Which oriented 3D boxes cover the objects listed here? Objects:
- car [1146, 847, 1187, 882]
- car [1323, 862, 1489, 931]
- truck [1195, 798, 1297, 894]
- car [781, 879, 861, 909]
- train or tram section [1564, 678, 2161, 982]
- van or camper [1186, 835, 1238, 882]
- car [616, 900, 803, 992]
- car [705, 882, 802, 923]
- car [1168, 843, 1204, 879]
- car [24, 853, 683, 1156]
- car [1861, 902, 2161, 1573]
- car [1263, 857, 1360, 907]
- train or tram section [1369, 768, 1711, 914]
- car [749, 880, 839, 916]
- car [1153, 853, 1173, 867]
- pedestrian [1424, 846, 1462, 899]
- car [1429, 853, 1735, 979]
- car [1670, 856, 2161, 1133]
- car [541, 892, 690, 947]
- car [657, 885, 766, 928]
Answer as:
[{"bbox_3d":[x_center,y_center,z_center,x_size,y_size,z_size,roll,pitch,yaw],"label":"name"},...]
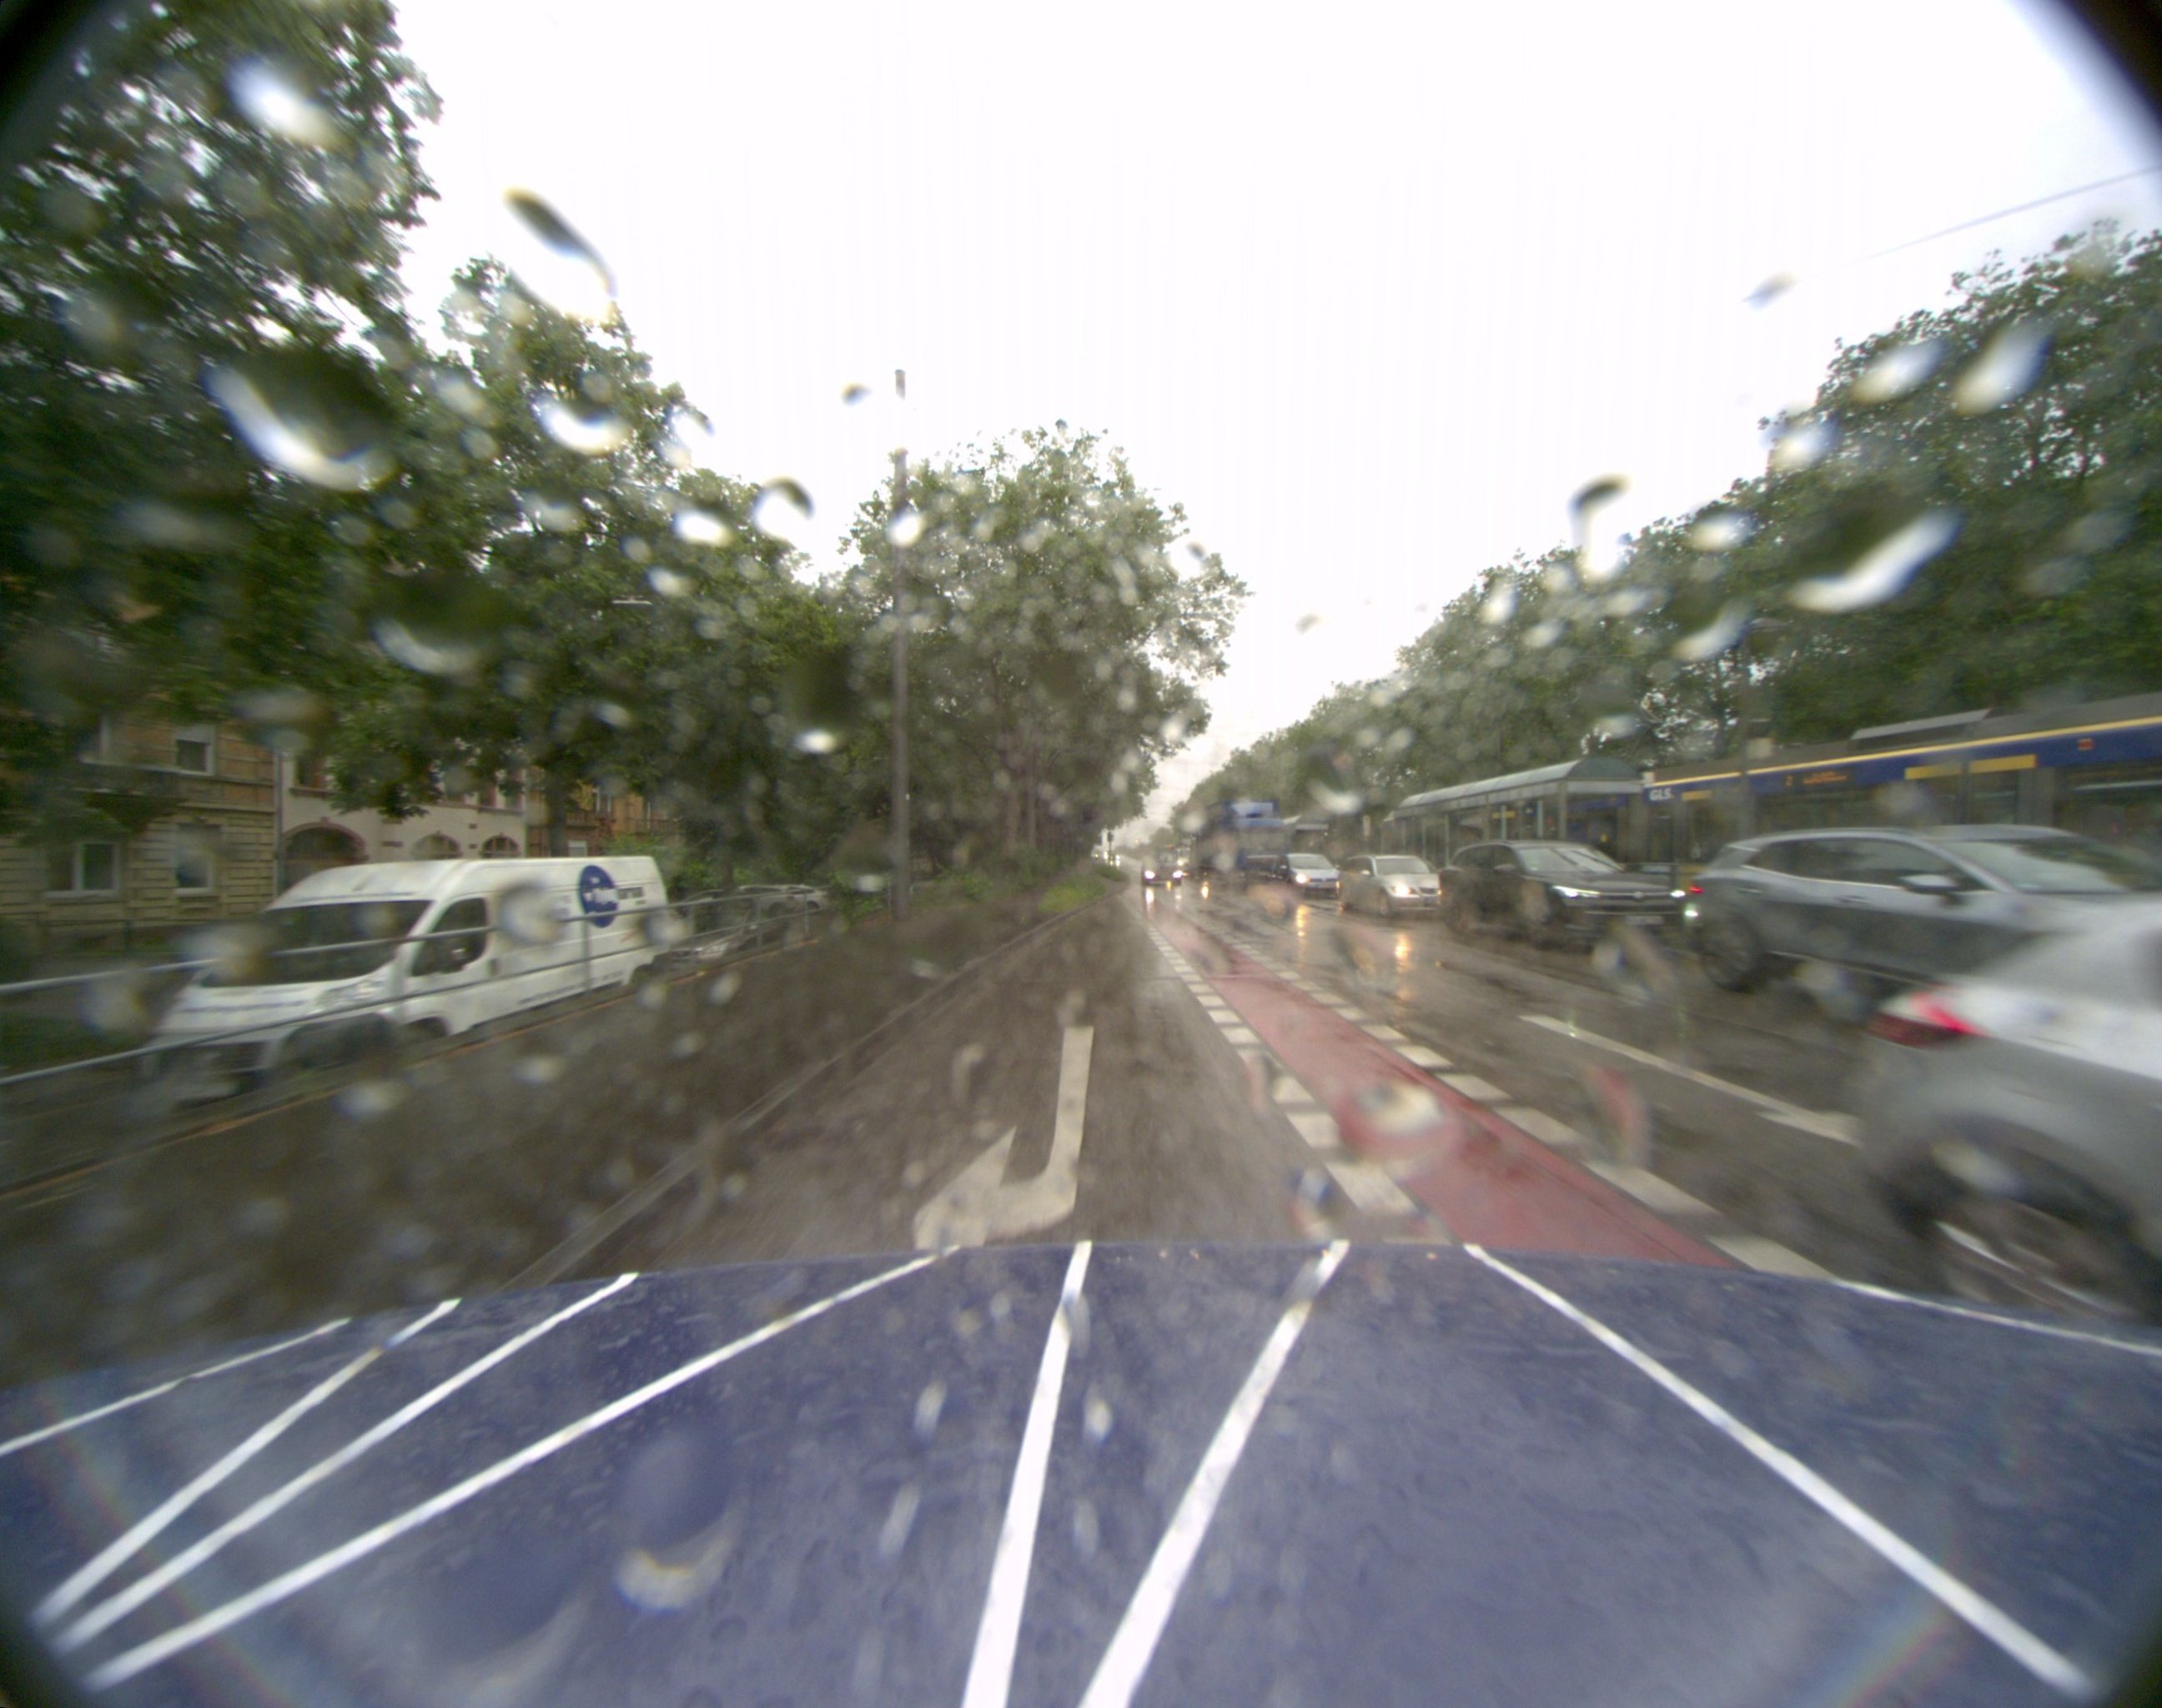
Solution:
[{"bbox_3d":[4.308,0.511,38.776,1.756,1.657,3.678,-2,0,2],"label":"car"},{"bbox_3d":[7.591,0.927,18.316,1.999,1.386,4.606,0,0,-1],"label":"car"},{"bbox_3d":[7.403,-0.336,35.602,2.545,3.866,9.810,0,0,-1],"label":"truck"},{"bbox_3d":[-15.295,2.297,44.760,4.006,1.455,1.908,-2,1,-34],"label":"car"},{"bbox_3d":[13.878,-0.364,11.339,3.549,3.393,15.504,-3,0,1],"label":"train or tram section"},{"bbox_3d":[7.873,0.235,46.363,1.998,2.555,6.431,-3,0,1],"label":"van or camper"},{"bbox_3d":[-7.747,1.860,16.424,1.972,1.345,4.383,-3,0,-2],"label":"car"},{"bbox_3d":[-15.532,2.265,36.070,4.006,1.599,1.821,-2,1,-30],"label":"car"},{"bbox_3d":[7.548,0.448,54.927,1.998,2.412,5.728,-3,0,3],"label":"car"},{"bbox_3d":[-7.697,1.258,9.448,2.214,2.406,6.157,-3,0,-1],"label":"car"},{"bbox_3d":[3.345,0.899,0.390,1.772,1.469,4.000,-2,0,0],"label":"car"},{"bbox_3d":[7.702,0.882,25.811,1.895,1.478,4.076,-1,0,-2],"label":"car"},{"bbox_3d":[14.122,-0.352,25.923,3.521,3.492,13.659,-3,0,1],"label":"train or tram section"},{"bbox_3d":[-14.951,2.258,39.649,4.006,1.557,1.995,-2,1,-34],"label":"car"},{"bbox_3d":[7.727,0.561,72.090,1.467,1.185,3.615,-2,0,0],"label":"car"},{"bbox_3d":[9.967,0.506,20.959,0.634,1.410,0.750,-3,1,0],"label":"pedestrian"},{"bbox_3d":[7.574,0.810,12.132,1.999,1.611,4.320,-1,0,-1],"label":"car"},{"bbox_3d":[7.440,0.856,6.093,1.919,1.614,4.453,0,0,-1],"label":"car"},{"bbox_3d":[-15.407,2.127,25.405,4.005,1.496,1.655,-1,1,-24],"label":"car"},{"bbox_3d":[-15.873,2.199,32.638,4.006,1.455,1.995,-2,1,-30],"label":"car"}]
